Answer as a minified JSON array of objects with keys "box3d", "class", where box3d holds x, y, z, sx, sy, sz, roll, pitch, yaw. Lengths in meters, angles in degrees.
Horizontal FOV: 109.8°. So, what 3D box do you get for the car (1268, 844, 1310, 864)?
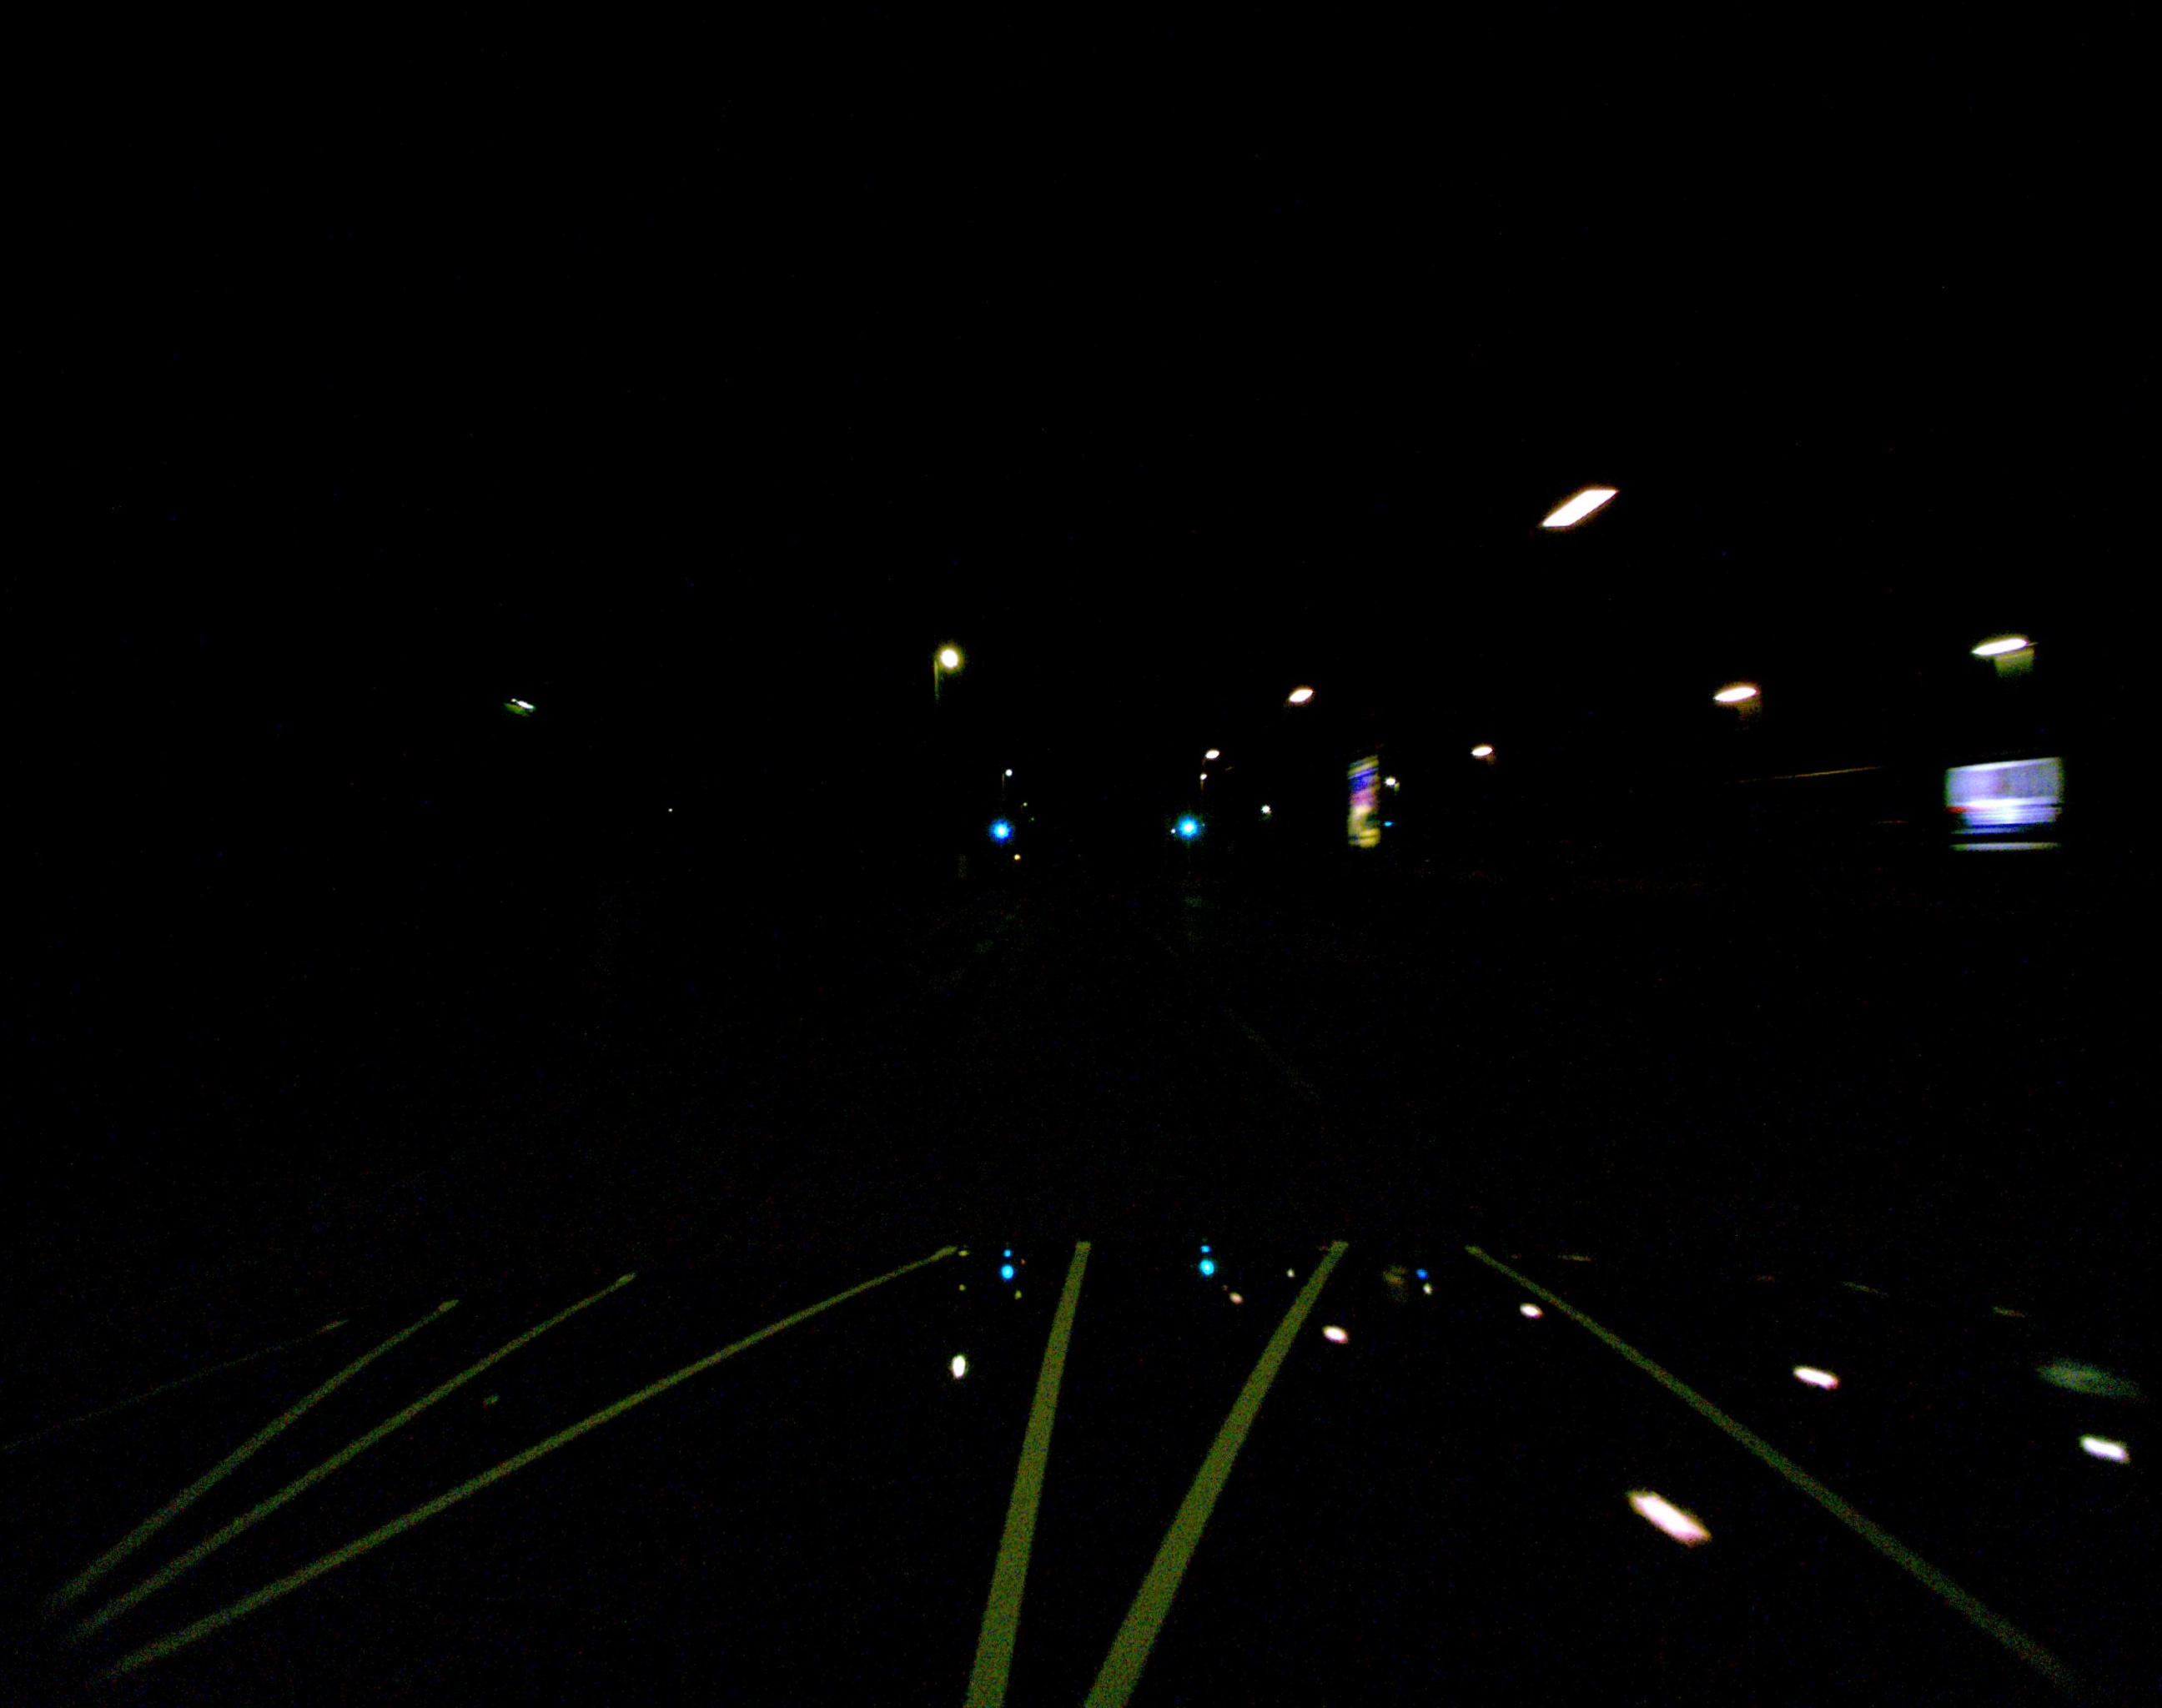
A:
[{"box3d":[16.050,-0.021,58.835,1.871,1.496,4.093,0,1,-3],"class":"car"}]
